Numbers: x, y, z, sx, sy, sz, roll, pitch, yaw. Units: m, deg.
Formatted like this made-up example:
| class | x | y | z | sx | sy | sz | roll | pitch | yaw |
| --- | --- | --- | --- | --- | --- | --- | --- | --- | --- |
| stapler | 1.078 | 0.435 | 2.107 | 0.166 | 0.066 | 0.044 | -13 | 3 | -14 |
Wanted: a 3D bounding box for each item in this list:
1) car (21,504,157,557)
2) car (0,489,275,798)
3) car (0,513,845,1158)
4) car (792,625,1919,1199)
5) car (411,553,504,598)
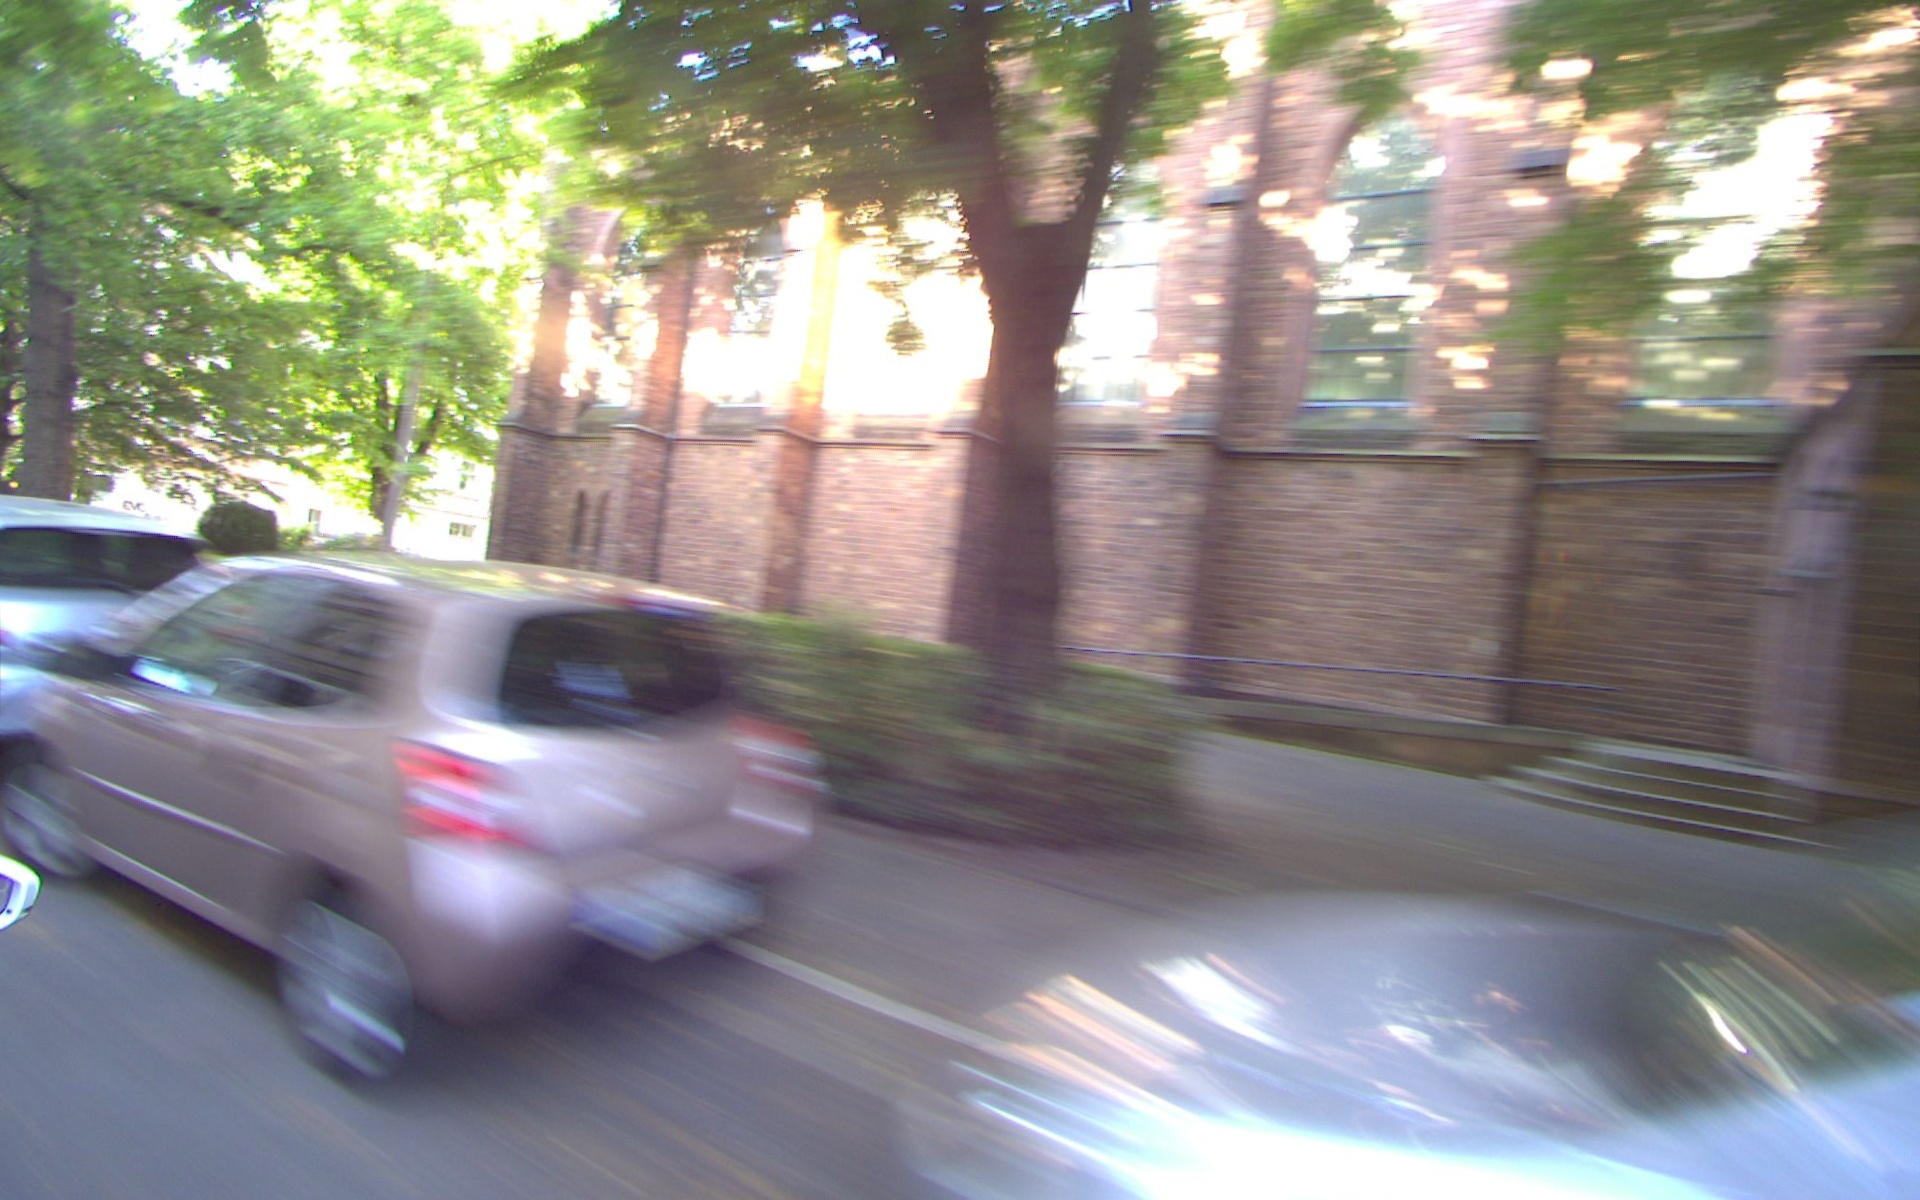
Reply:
| class | x | y | z | sx | sy | sz | roll | pitch | yaw |
| --- | --- | --- | --- | --- | --- | --- | --- | --- | --- |
| car | -35.499 | -2.812 | 41.070 | 1.610 | 1.489 | 3.856 | 4 | -4 | 38 |
| car | -6.034 | 0.071 | 6.178 | 3.566 | 1.526 | 1.599 | 6 | 3 | 30 |
| car | -2.382 | 0.519 | 4.102 | 3.505 | 1.488 | 1.598 | 6 | 3 | 32 |
| car | 1.755 | 0.989 | 1.333 | 3.806 | 1.489 | 1.600 | 6 | 1 | 32 |
| car | -24.049 | -1.149 | 48.224 | 1.610 | 1.667 | 3.532 | 4 | -4 | 38 |
